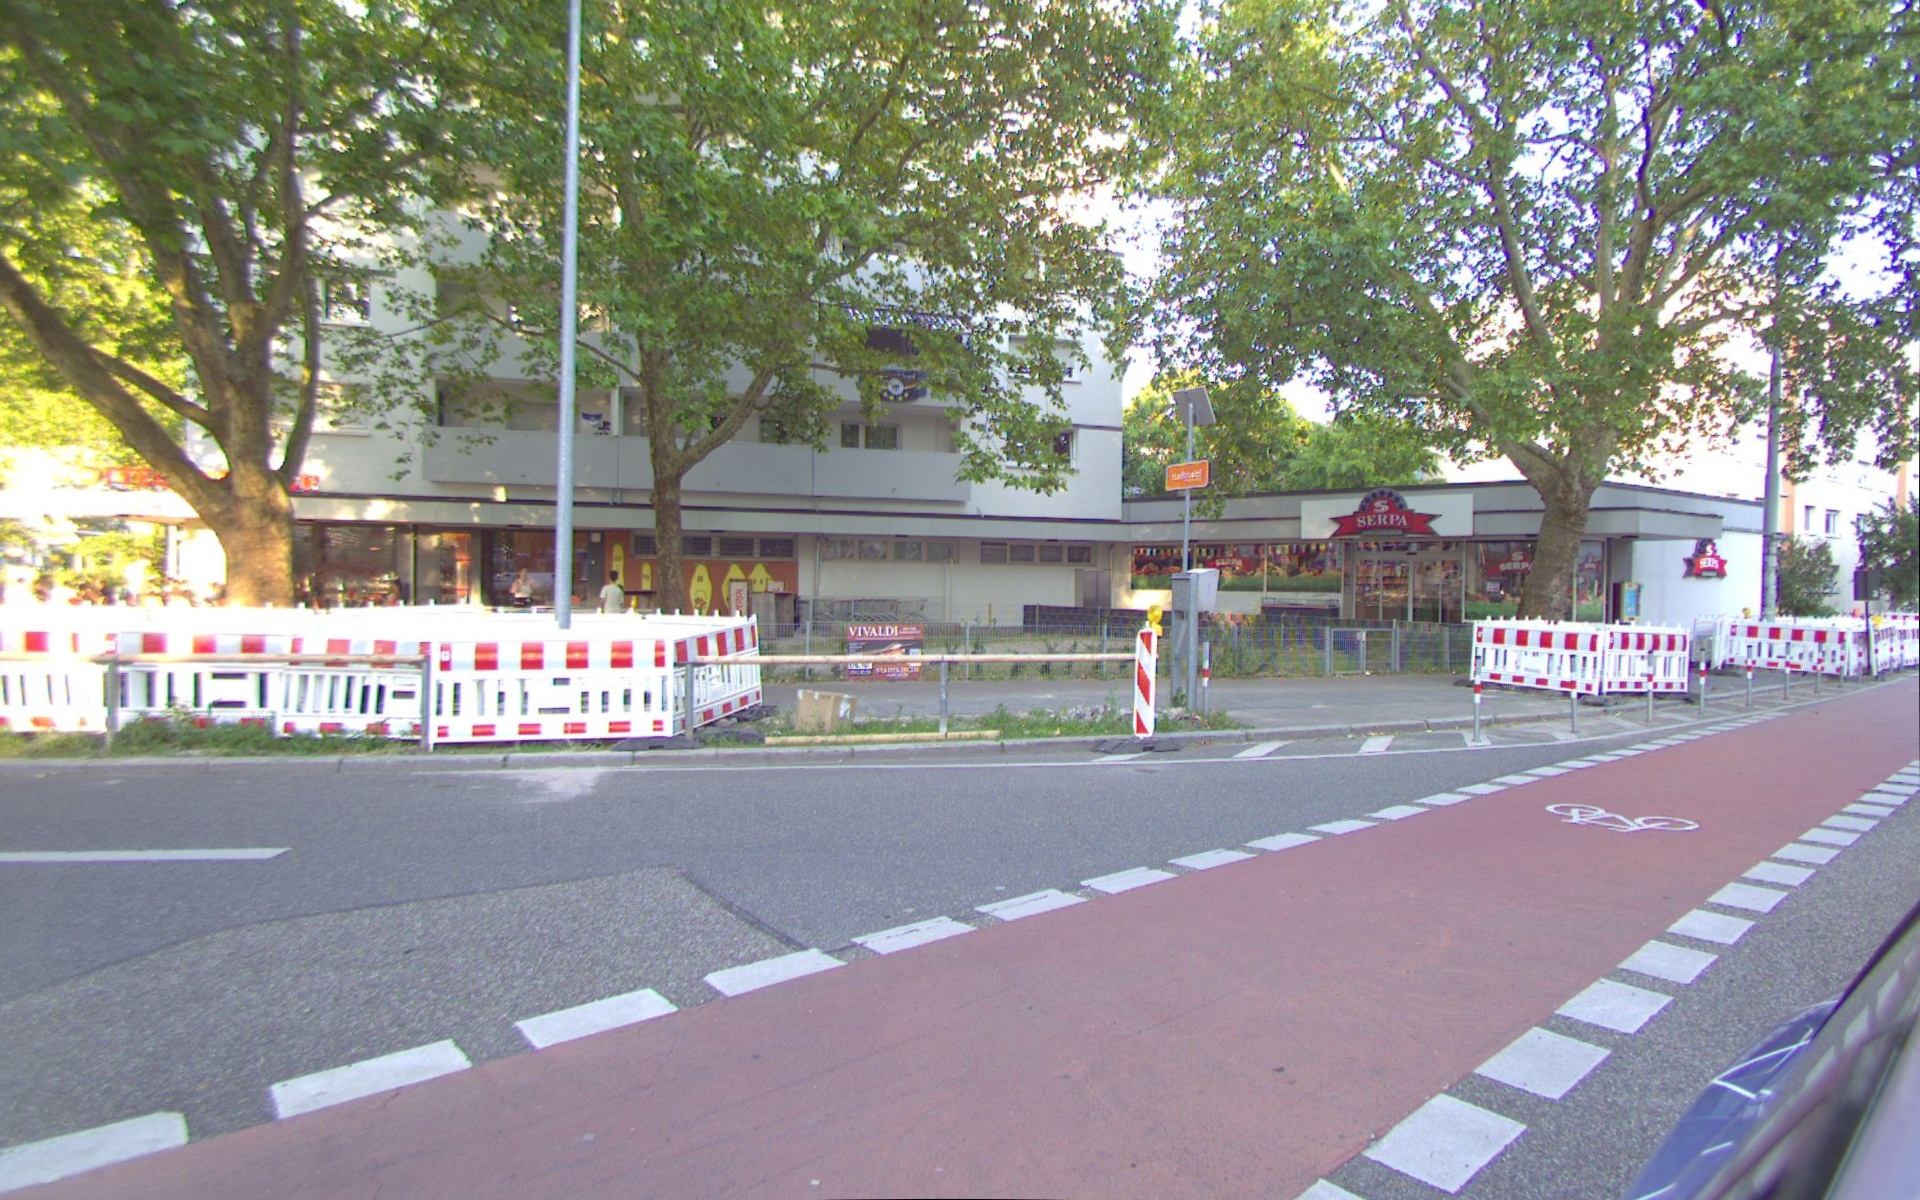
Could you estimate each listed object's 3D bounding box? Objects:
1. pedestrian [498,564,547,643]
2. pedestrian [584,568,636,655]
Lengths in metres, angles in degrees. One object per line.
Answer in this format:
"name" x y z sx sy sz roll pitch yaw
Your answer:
"pedestrian" -9.098 0.056 21.064 0.639 1.608 0.735 0 0 43
"pedestrian" -6.682 0.204 19.326 0.639 1.608 0.735 0 0 43
